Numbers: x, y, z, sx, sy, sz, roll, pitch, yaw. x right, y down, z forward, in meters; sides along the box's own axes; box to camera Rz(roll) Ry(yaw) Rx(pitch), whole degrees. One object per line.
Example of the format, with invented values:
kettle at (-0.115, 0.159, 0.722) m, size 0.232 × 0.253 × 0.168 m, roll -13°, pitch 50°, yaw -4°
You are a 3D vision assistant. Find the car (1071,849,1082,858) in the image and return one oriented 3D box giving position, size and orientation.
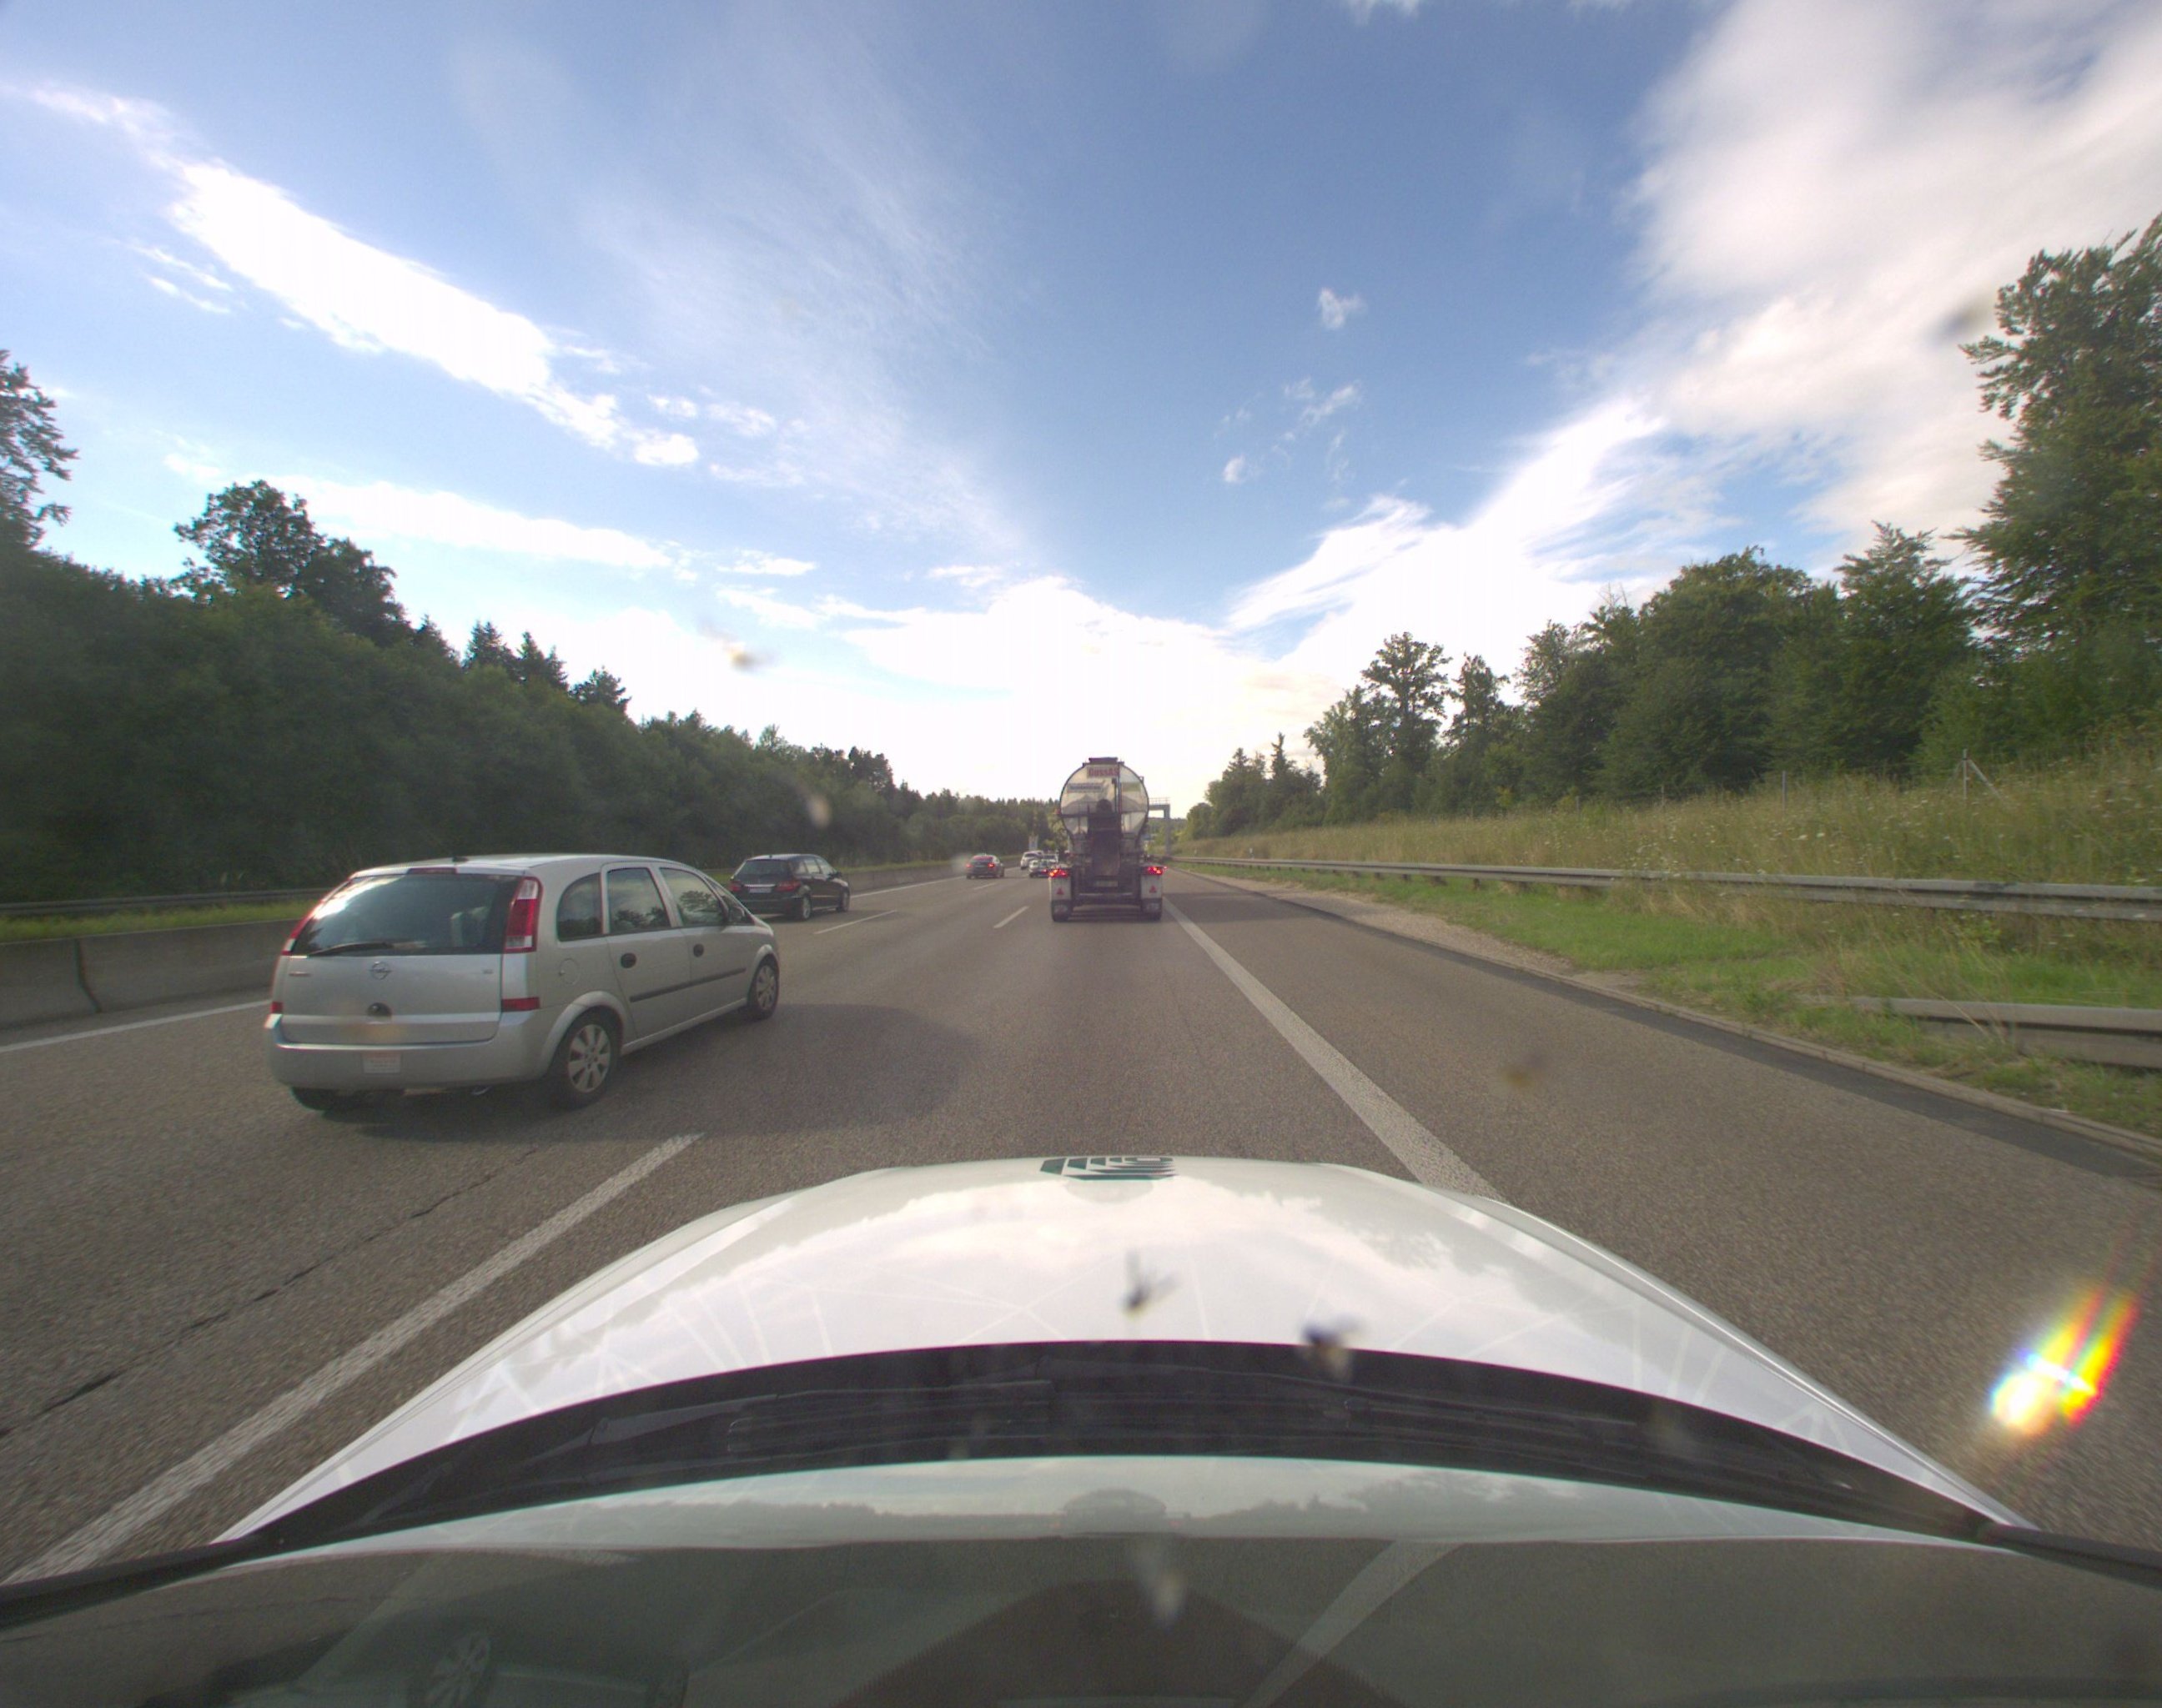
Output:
car at (-0.784, -0.132, 155.502) m, size 1.935 × 1.585 × 4.209 m, roll -1°, pitch 1°, yaw 2°

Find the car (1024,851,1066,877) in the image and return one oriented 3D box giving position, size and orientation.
car at (-2.133, 0.566, 49.776) m, size 2.052 × 1.499 × 5.739 m, roll -1°, pitch 0°, yaw 2°

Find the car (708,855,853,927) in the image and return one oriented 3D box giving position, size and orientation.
car at (-7.260, 0.821, 20.196) m, size 1.828 × 1.517 × 4.335 m, roll -1°, pitch 0°, yaw 2°

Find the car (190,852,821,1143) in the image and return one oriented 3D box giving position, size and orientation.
car at (-3.784, 0.766, 6.532) m, size 1.828 × 1.517 × 4.335 m, roll -1°, pitch 0°, yaw 2°

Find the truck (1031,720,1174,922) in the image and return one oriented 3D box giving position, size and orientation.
truck at (0.697, -0.717, 22.624) m, size 2.901 × 4.157 × 11.277 m, roll -1°, pitch 0°, yaw 3°

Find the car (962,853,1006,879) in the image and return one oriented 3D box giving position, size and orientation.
car at (-5.766, 0.683, 48.932) m, size 1.849 × 1.431 × 4.844 m, roll -1°, pitch 0°, yaw 2°

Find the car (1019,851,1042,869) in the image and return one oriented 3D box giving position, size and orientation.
car at (-4.349, 0.512, 70.509) m, size 1.612 × 1.544 × 3.521 m, roll -1°, pitch 0°, yaw 2°

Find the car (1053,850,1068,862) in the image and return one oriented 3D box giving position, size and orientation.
car at (-2.743, 0.241, 108.889) m, size 1.800 × 1.585 × 4.209 m, roll -1°, pitch 1°, yaw 2°

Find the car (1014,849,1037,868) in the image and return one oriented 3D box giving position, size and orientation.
car at (-5.434, 0.424, 79.568) m, size 1.839 × 1.783 × 4.001 m, roll -1°, pitch 0°, yaw 1°

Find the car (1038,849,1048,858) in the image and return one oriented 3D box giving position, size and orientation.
car at (-8.401, -0.131, 179.352) m, size 1.986 × 2.013 × 4.073 m, roll -1°, pitch 0°, yaw 1°
